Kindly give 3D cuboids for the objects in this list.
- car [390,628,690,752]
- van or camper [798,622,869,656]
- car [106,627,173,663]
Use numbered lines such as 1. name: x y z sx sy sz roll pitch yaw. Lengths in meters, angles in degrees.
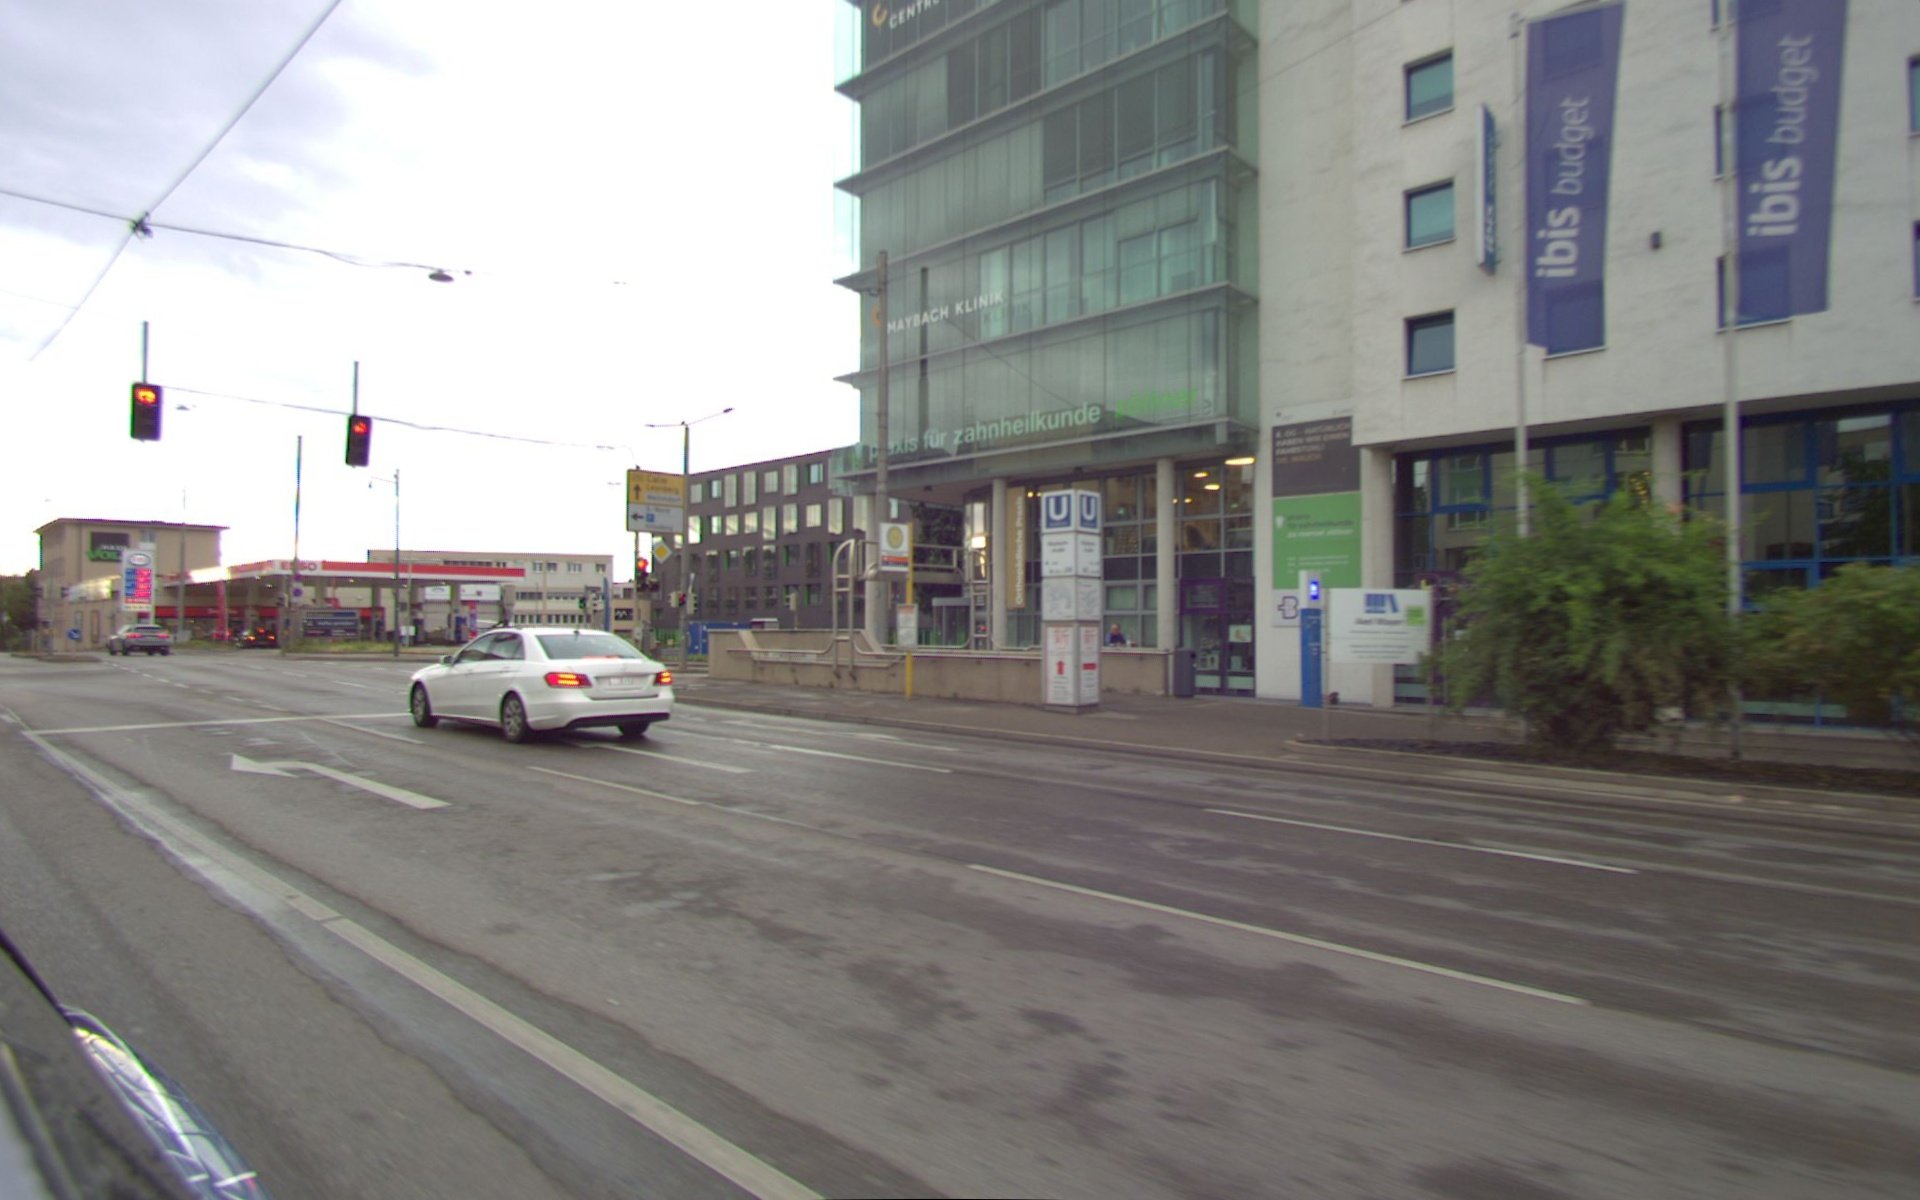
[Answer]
1. car: -5.929 1.102 13.945 4.961 1.397 1.798 -1 -2 41
2. van or camper: -10.138 3.141 81.029 5.346 2.386 2.701 1 -3 42
3. car: -42.874 2.336 52.864 4.208 1.644 1.888 1 -3 41
